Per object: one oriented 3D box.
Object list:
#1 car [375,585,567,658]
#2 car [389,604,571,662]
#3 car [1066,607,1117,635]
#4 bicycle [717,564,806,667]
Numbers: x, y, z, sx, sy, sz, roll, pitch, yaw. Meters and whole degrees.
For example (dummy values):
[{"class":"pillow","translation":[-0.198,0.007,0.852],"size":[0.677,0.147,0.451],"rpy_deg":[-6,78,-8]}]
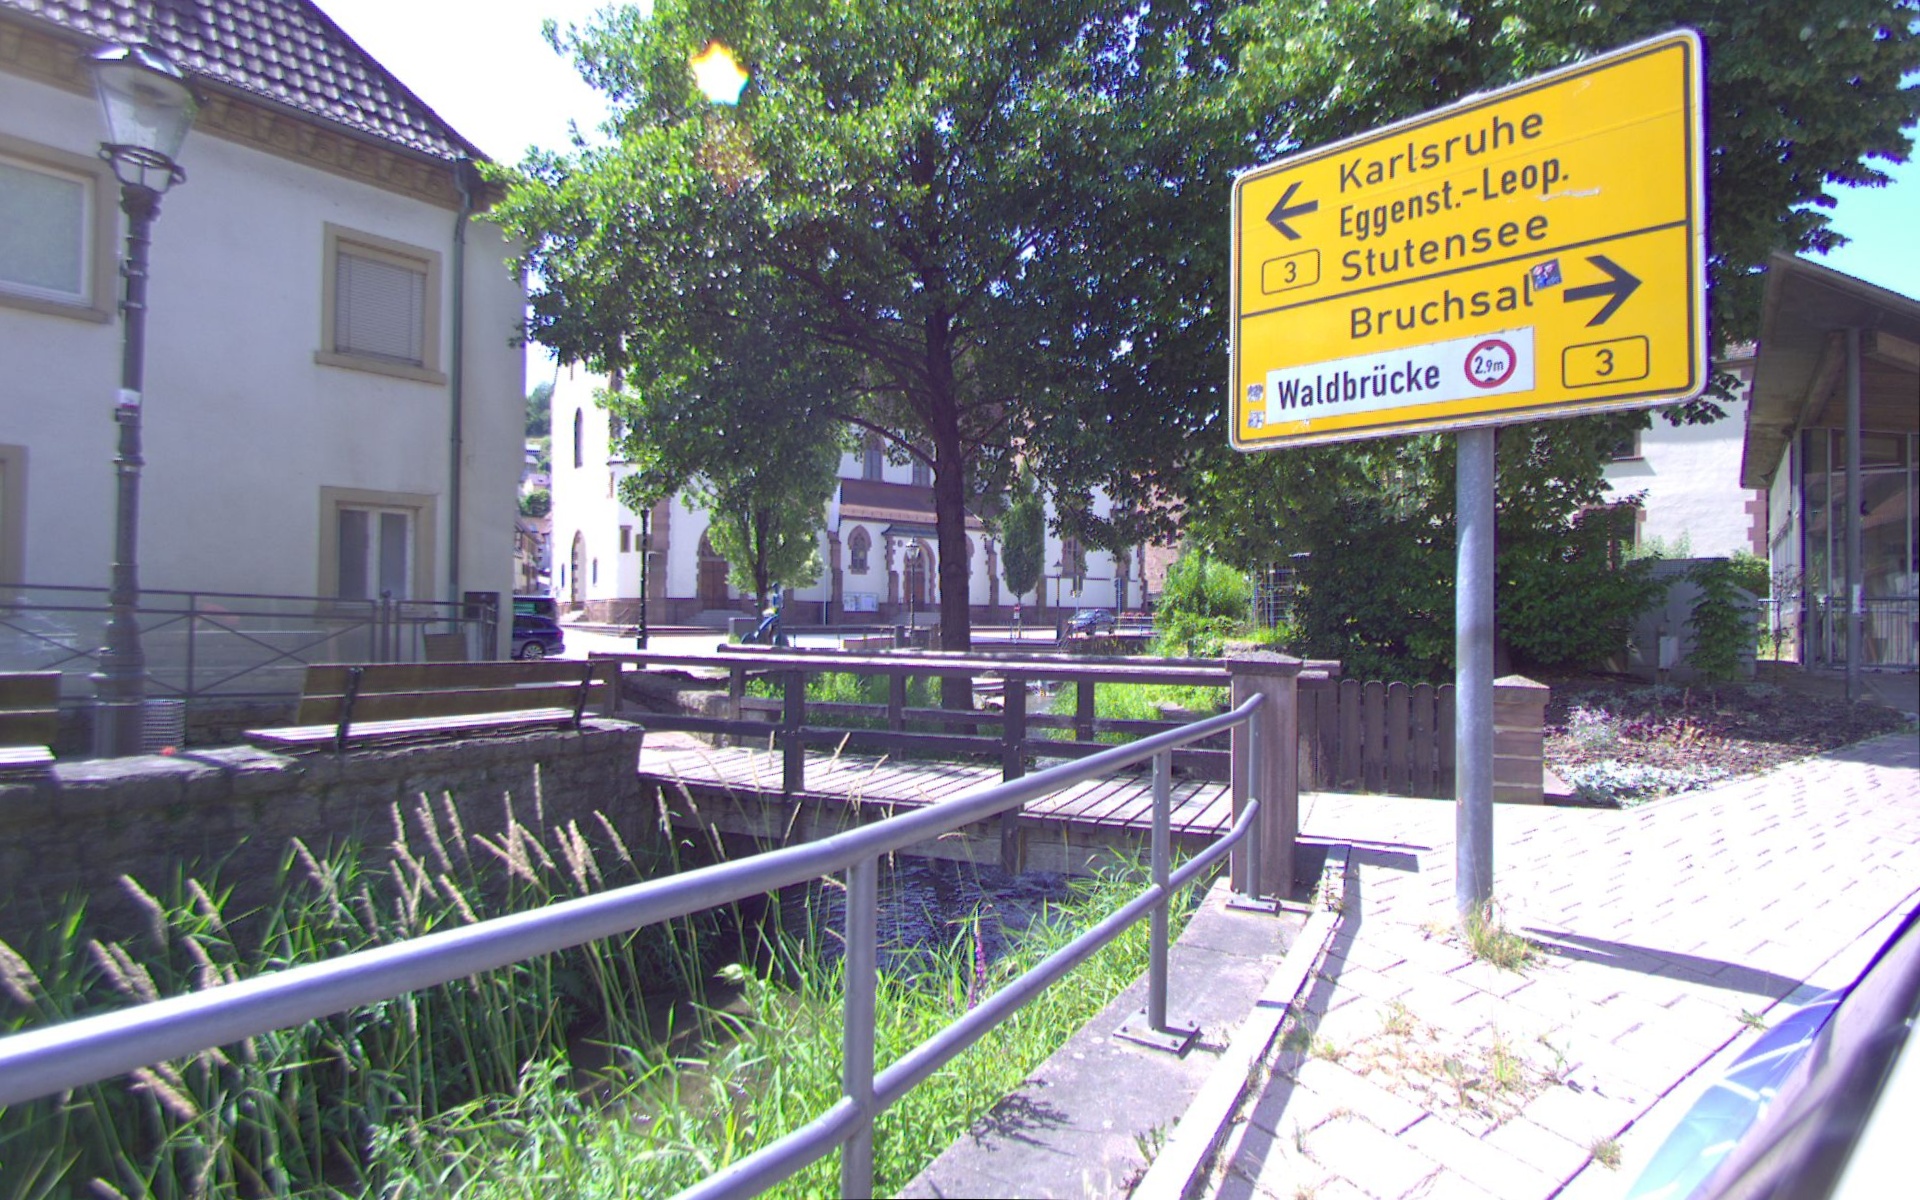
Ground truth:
[{"class":"car","translation":[-15.160,0.688,31.517],"size":[5.027,2.053,1.958],"rpy_deg":[3,-1,-37]},{"class":"car","translation":[-13.704,0.979,29.051],"size":[4.455,1.501,1.588],"rpy_deg":[3,-1,-37]},{"class":"car","translation":[7.603,1.179,58.222],"size":[1.655,1.524,3.772],"rpy_deg":[-1,-1,29]},{"class":"bicycle","translation":[-4.216,0.335,21.772],"size":[0.771,2.039,2.655],"rpy_deg":[-3,-2,13]}]
